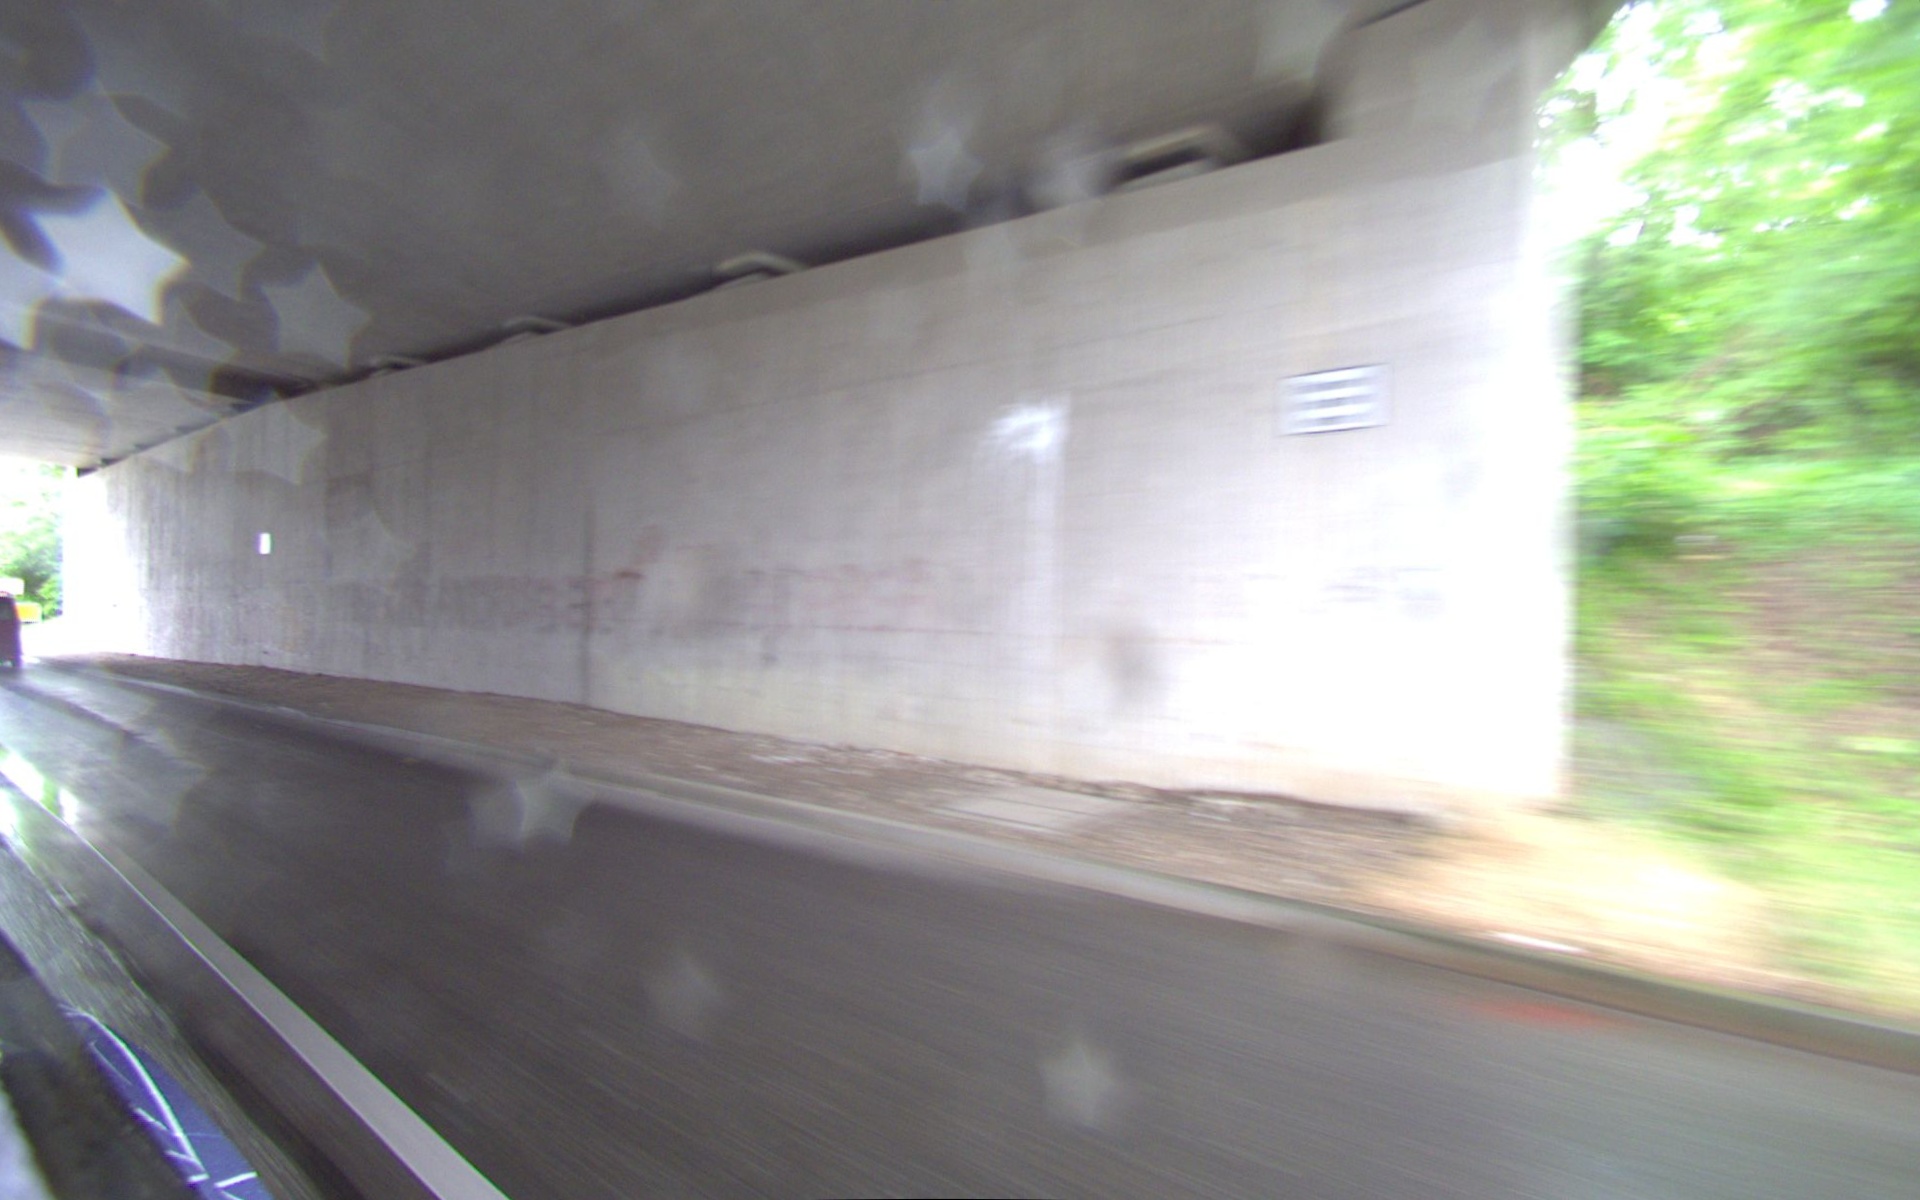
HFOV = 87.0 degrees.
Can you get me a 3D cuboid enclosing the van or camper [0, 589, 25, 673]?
[{"bbox_3d":[-26.396,0.812,26.778,4.690,2.114,1.972,-1,0,42],"label":"van or camper"}]
